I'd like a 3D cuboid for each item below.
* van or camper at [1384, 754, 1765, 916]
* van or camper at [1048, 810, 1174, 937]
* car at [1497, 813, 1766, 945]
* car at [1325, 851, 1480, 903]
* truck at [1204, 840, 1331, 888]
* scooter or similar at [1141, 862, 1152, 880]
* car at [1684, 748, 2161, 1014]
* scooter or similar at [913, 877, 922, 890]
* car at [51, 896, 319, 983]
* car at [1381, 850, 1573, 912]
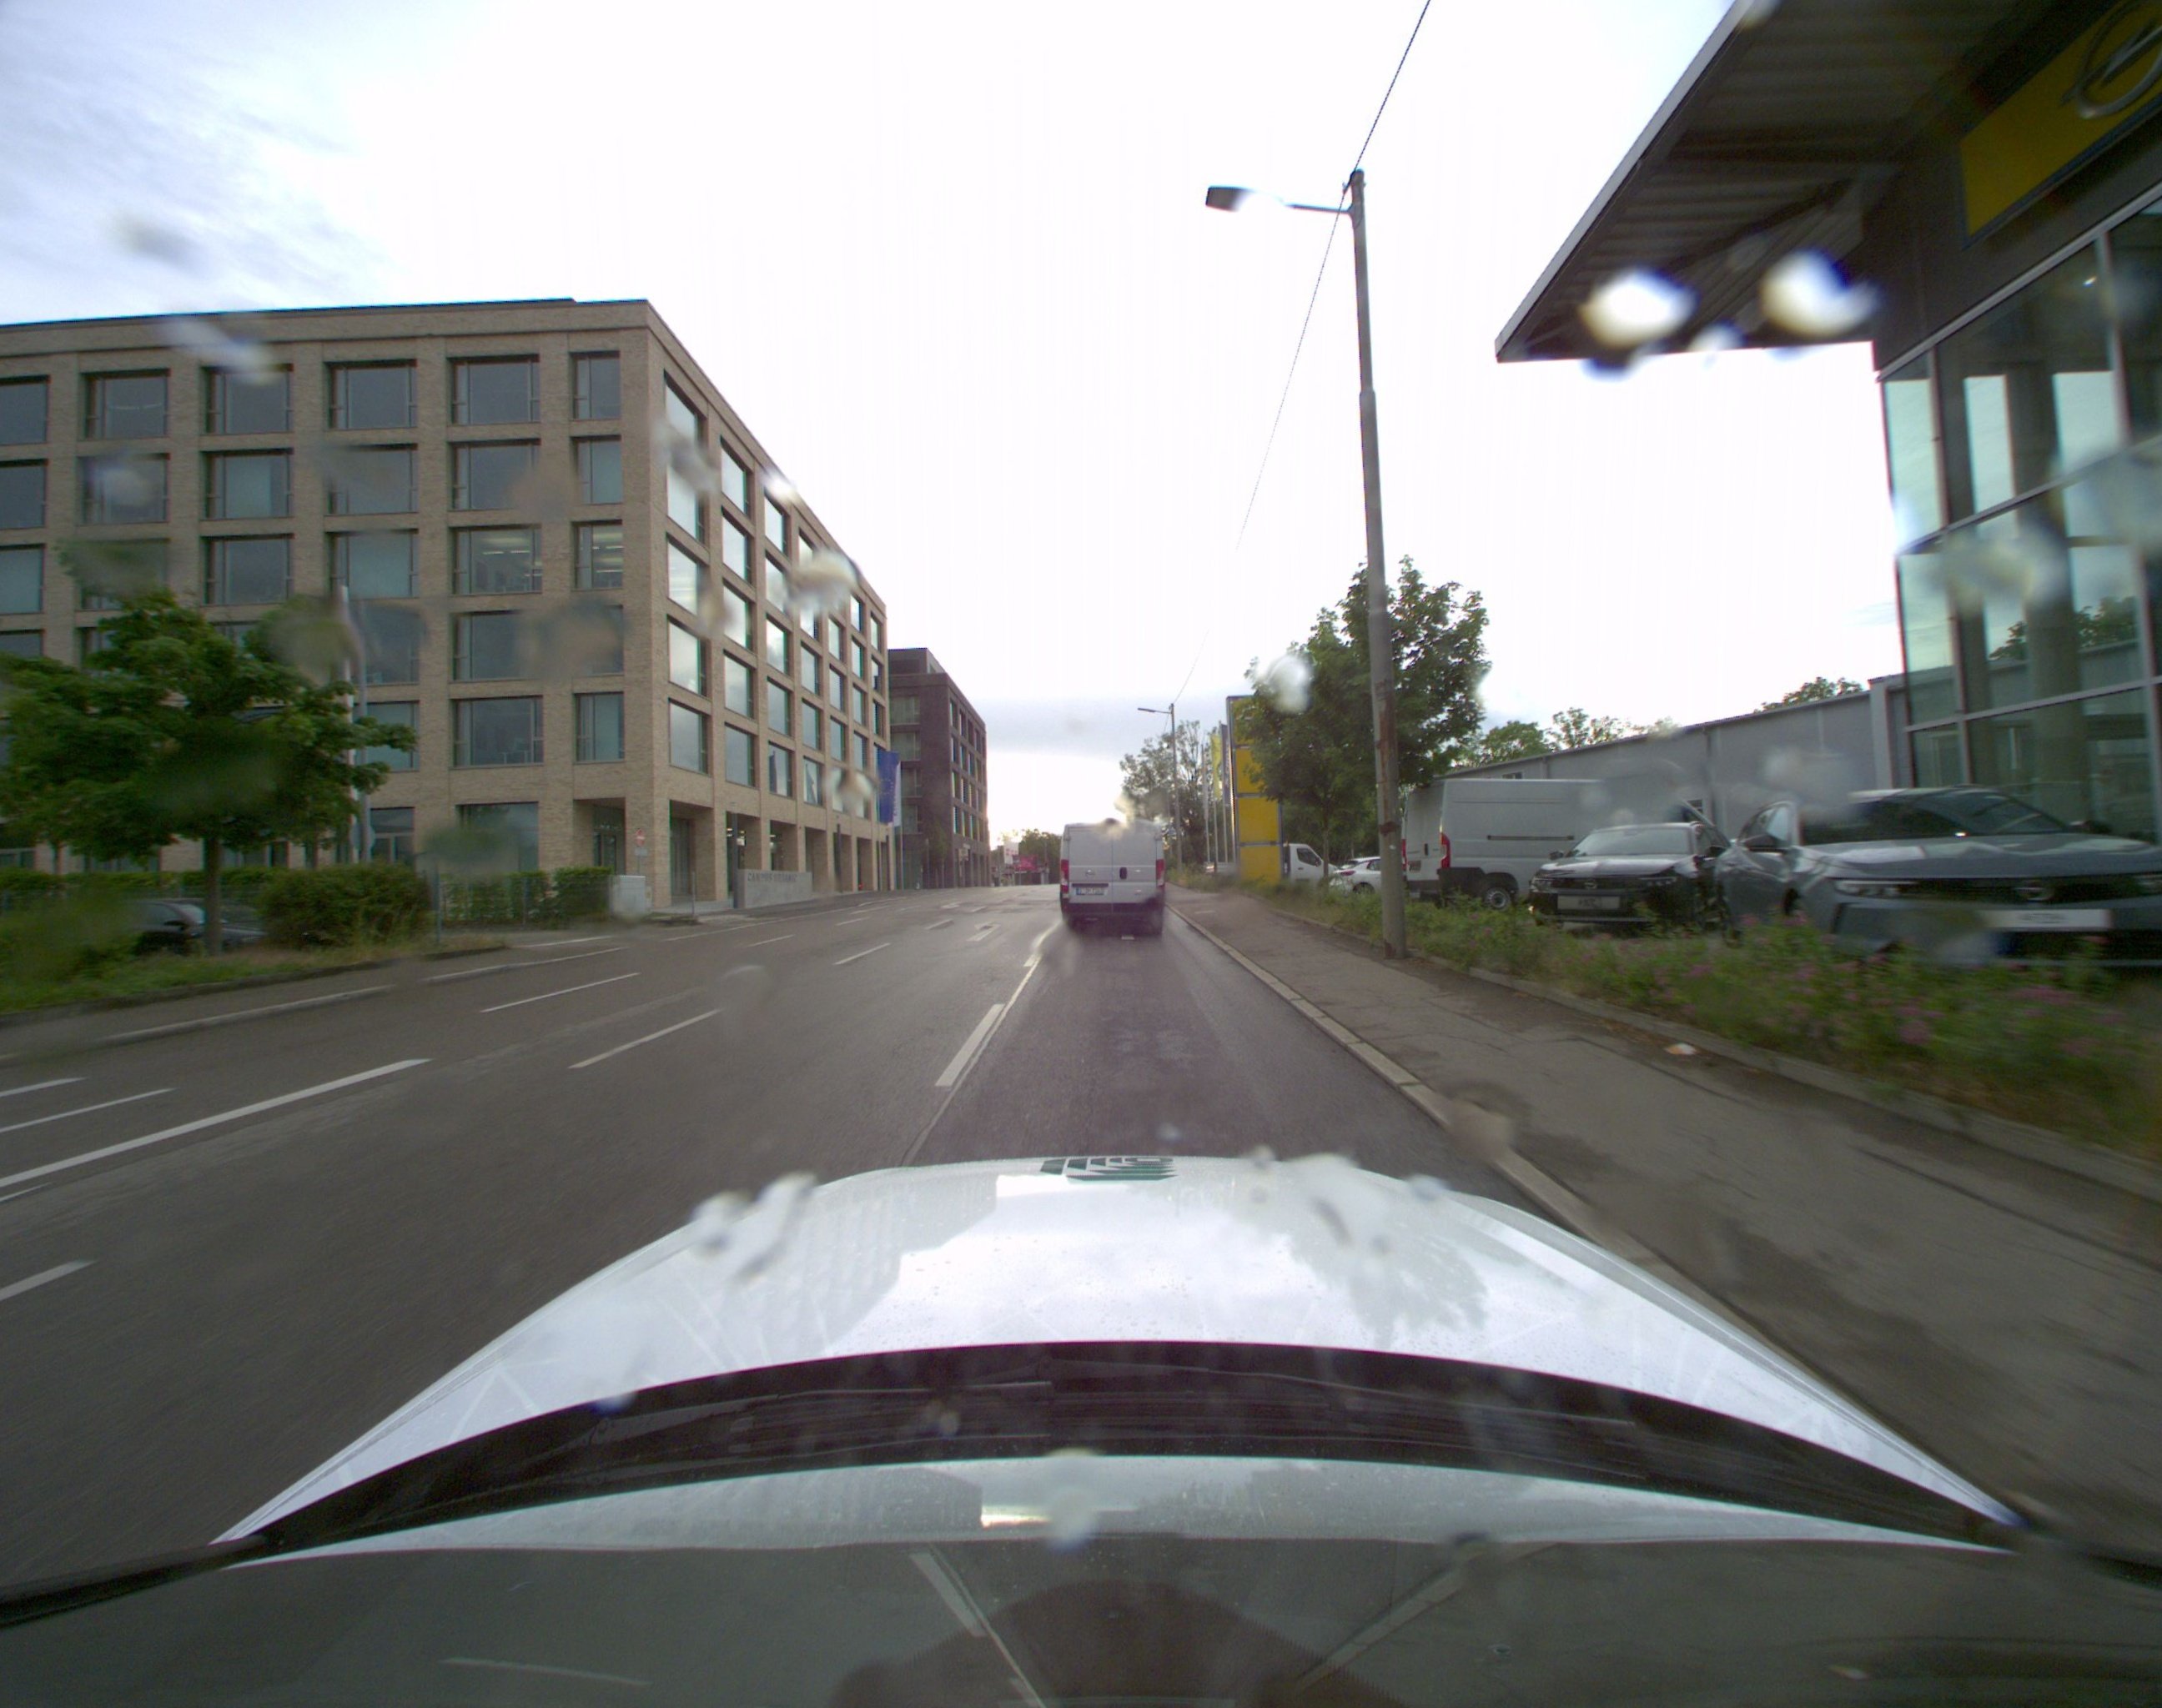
[{"bbox_3d":[9.007,-0.319,15.344,5.716,2.724,2.352,-1,-1,1],"label":"van or camper"},{"bbox_3d":[0.684,0.379,17.988,2.330,2.357,5.202,-1,0,2],"label":"van or camper"},{"bbox_3d":[7.676,0.271,11.174,4.542,1.454,1.893,-2,-2,-41],"label":"car"},{"bbox_3d":[9.690,0.685,24.782,3.971,1.428,1.896,-1,0,2],"label":"car"},{"bbox_3d":[8.206,0.433,36.231,5.132,2.013,2.344,-1,0,-1],"label":"truck"},{"bbox_3d":[5.862,1.475,72.631,0.436,1.588,1.264,-1,-1,-20],"label":"scooter or similar"},{"bbox_3d":[6.566,0.169,6.735,1.891,1.454,4.600,-4,-2,29],"label":"car"},{"bbox_3d":[-13.092,2.353,65.205,0.349,1.072,1.429,-1,-2,3],"label":"scooter or similar"},{"bbox_3d":[-17.177,1.615,15.725,3.474,1.464,1.544,-1,0,1],"label":"car"},{"bbox_3d":[9.879,0.694,20.550,3.972,1.431,1.748,-1,-3,2],"label":"car"}]
